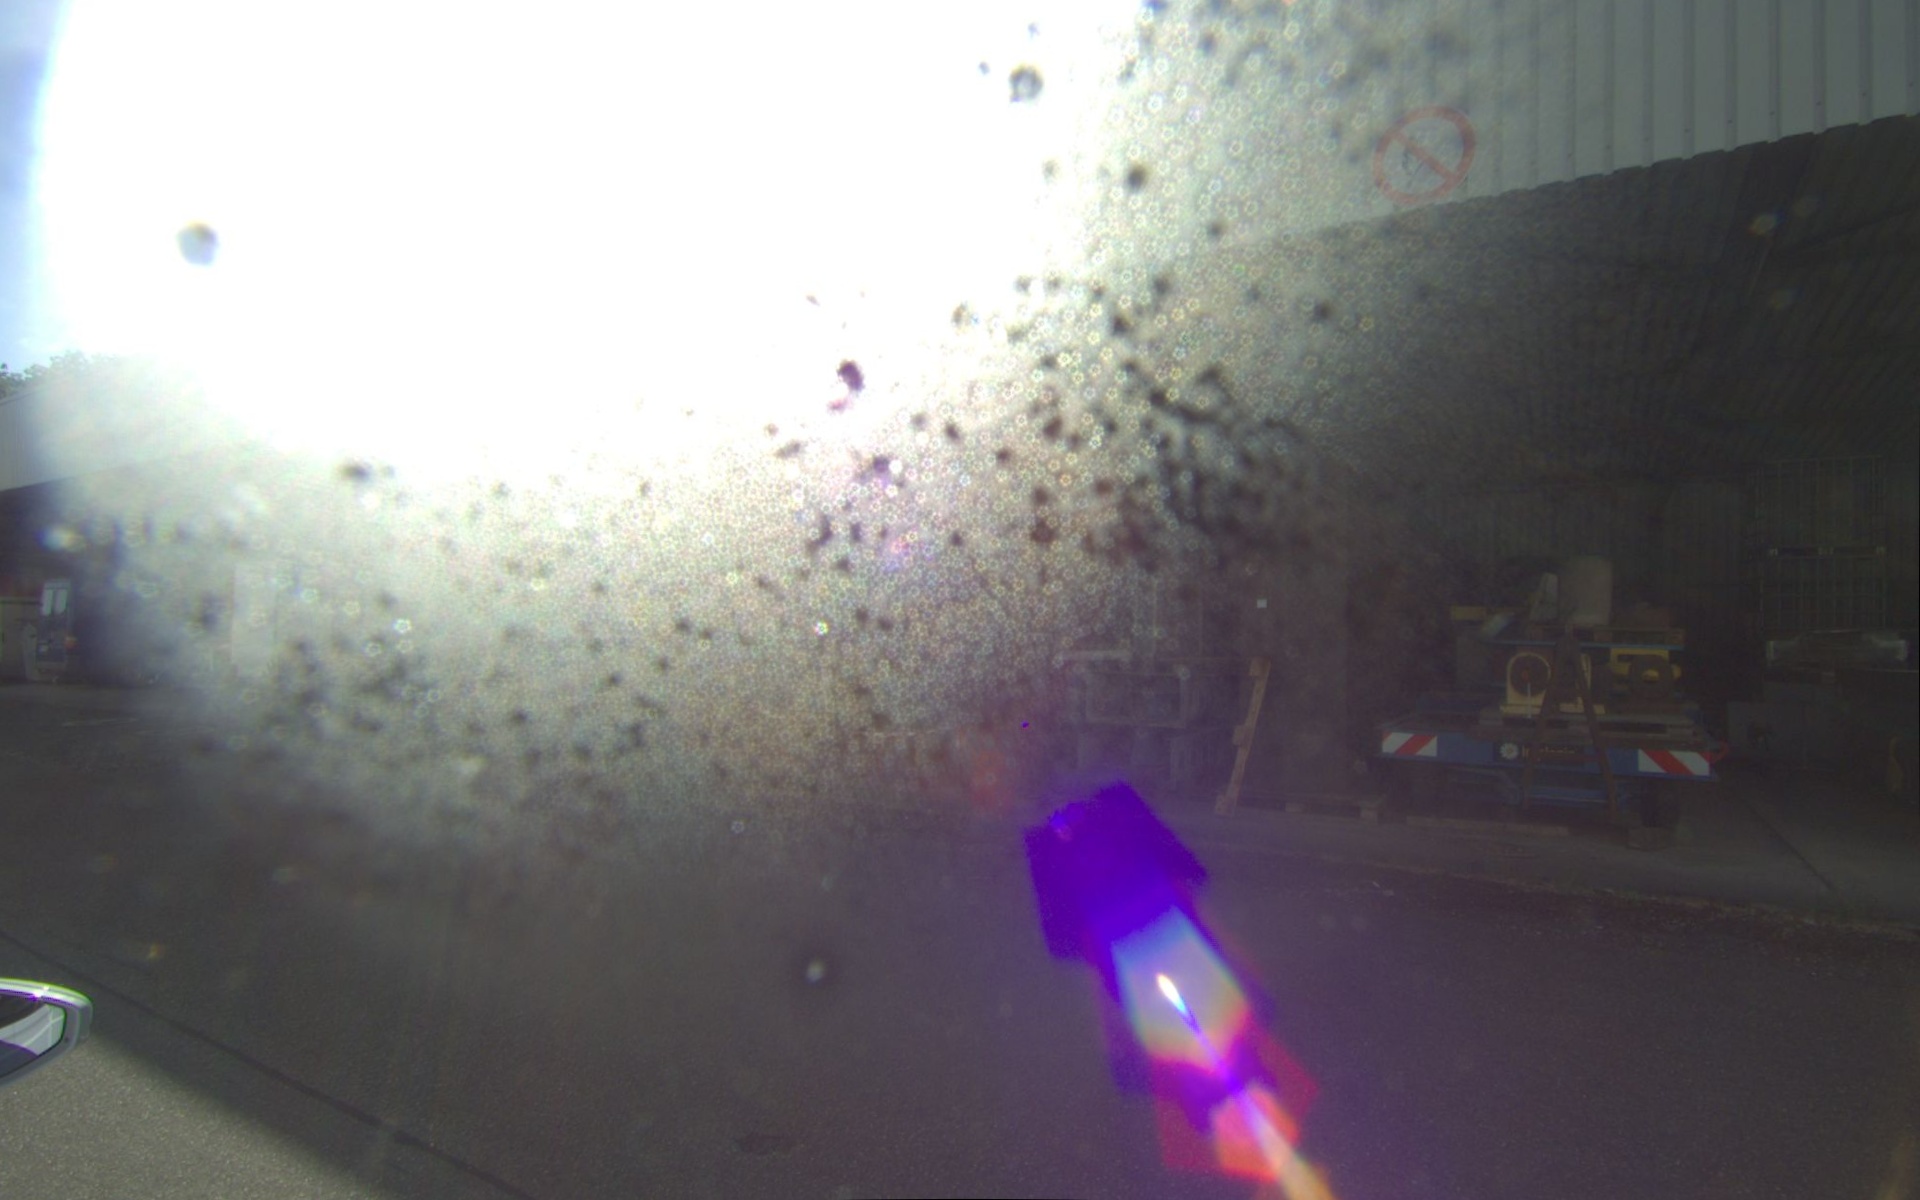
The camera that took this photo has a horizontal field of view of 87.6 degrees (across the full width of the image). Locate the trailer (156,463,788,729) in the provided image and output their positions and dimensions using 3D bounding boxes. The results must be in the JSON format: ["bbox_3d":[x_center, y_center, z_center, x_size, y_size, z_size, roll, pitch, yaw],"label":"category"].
[{"bbox_3d":[-7.567,0.052,17.856,2.761,3.386,10.250,0,-1,32],"label":"trailer"}]

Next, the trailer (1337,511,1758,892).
[{"bbox_3d":[4.531,0.597,7.746,2.133,2.016,4.414,-1,-1,33],"label":"trailer"}]

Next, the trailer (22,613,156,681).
[{"bbox_3d":[-20.286,1.060,23.339,1.715,1.485,2.032,0,-1,36],"label":"trailer"}]

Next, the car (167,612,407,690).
[{"bbox_3d":[-14.534,1.078,21.845,1.812,1.533,3.962,-1,-2,29],"label":"car"}]

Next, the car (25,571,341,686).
[{"bbox_3d":[-17.515,0.676,22.928,2.121,2.310,5.326,-1,-2,31],"label":"car"}]

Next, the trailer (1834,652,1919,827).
[{"bbox_3d":[7.526,1.012,6.338,1.945,1.200,5.721,-1,-1,30],"label":"trailer"}]

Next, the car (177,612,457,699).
[{"bbox_3d":[-12.363,1.043,19.571,1.841,1.490,4.246,0,-2,29],"label":"car"}]

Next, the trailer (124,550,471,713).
[{"bbox_3d":[-10.998,0.516,16.976,2.018,2.372,4.507,-1,-1,33],"label":"trailer"}]
